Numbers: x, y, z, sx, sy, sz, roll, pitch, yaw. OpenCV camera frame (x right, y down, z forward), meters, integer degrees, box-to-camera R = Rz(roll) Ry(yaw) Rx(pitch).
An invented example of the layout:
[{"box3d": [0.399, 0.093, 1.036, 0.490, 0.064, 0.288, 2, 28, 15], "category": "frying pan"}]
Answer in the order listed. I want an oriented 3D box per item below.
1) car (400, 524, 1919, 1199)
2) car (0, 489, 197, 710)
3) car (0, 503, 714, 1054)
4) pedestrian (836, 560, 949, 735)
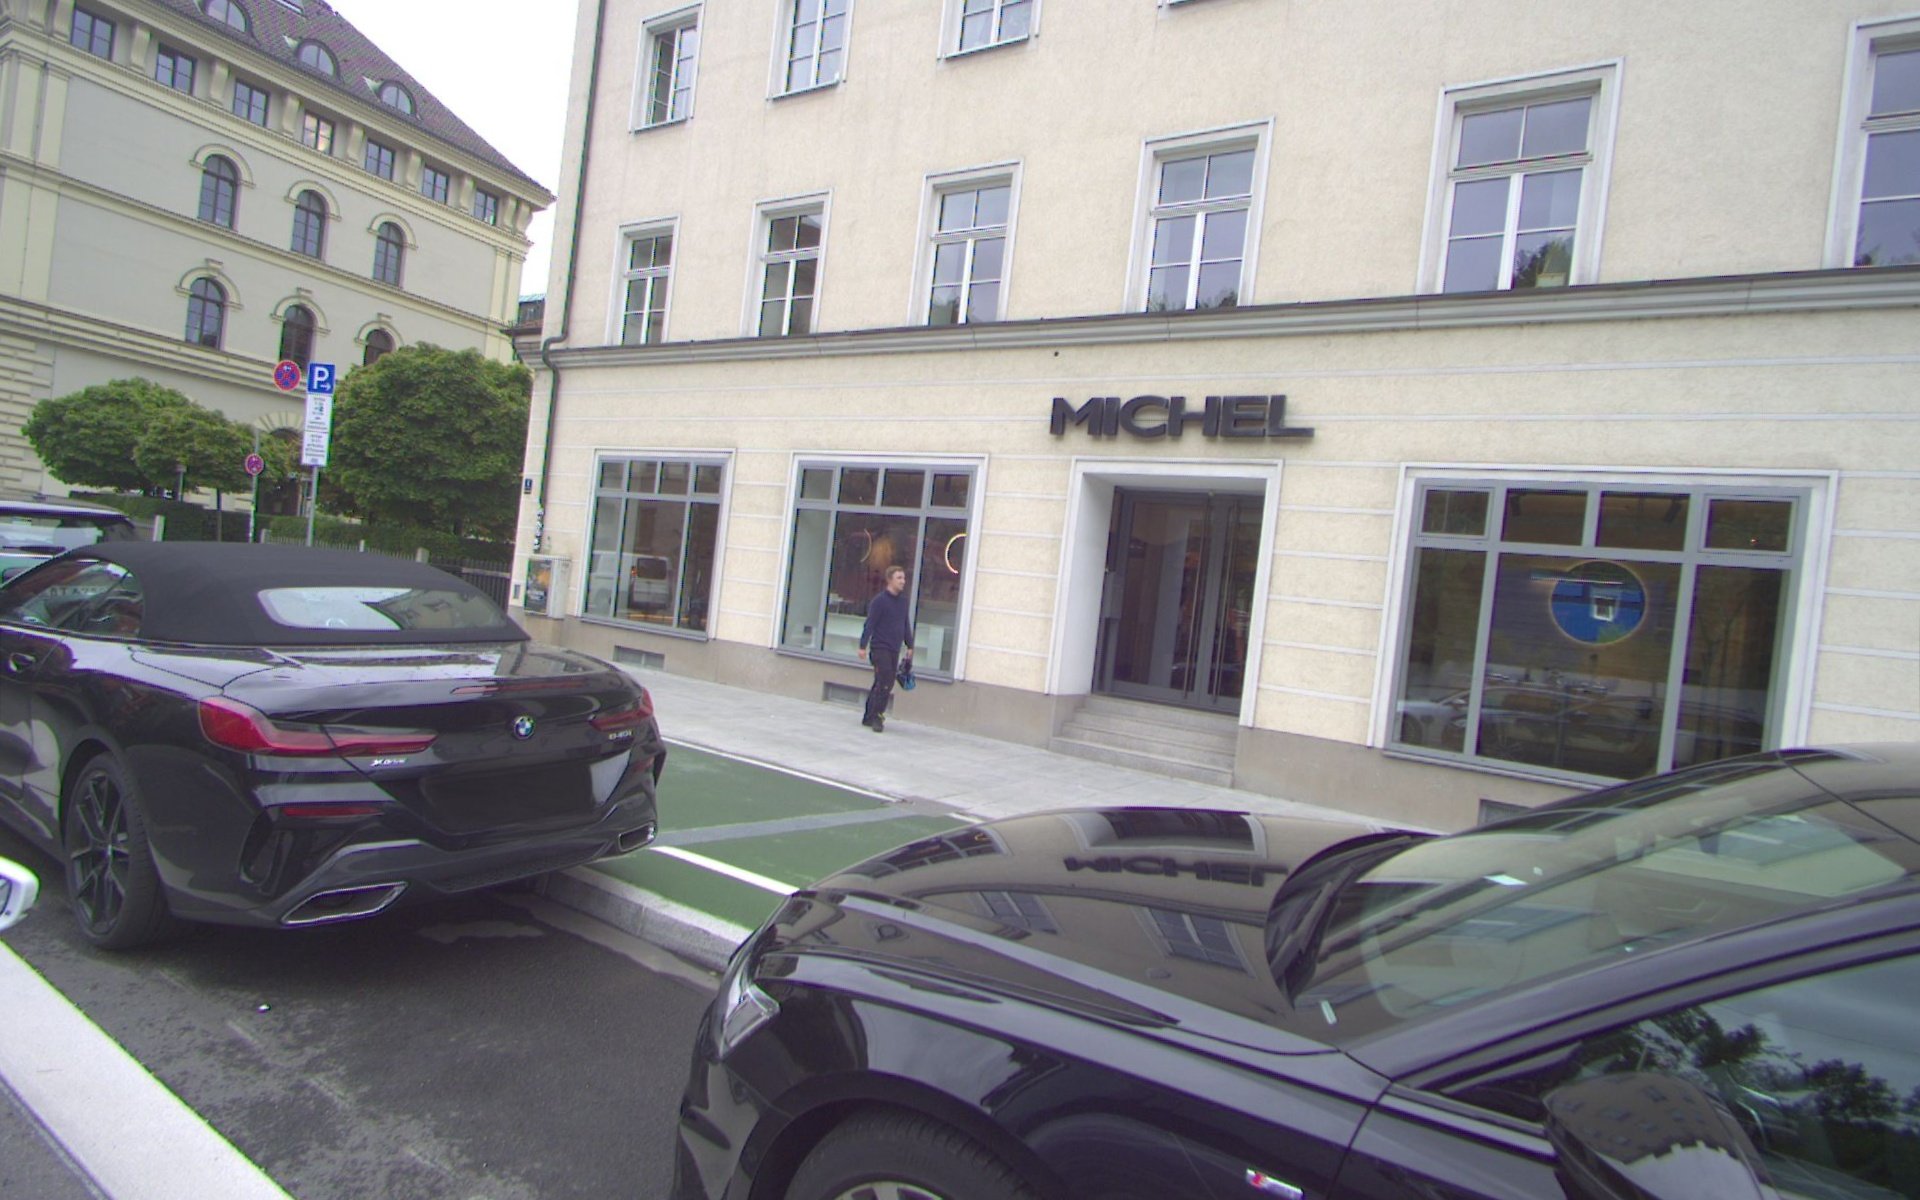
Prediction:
[{"box3d": [1.347, 0.883, 1.677, 4.607, 1.499, 1.804, 7, 1, 30], "category": "car"}, {"box3d": [-7.826, -0.146, 8.025, 3.368, 1.514, 1.612, 7, 0, 32], "category": "car"}, {"box3d": [-3.373, 0.412, 4.666, 4.354, 1.403, 1.682, 7, -1, 32], "category": "car"}, {"box3d": [-0.771, 0.544, 11.513, 0.764, 1.859, 0.791, 8, 1, 33], "category": "pedestrian"}]
